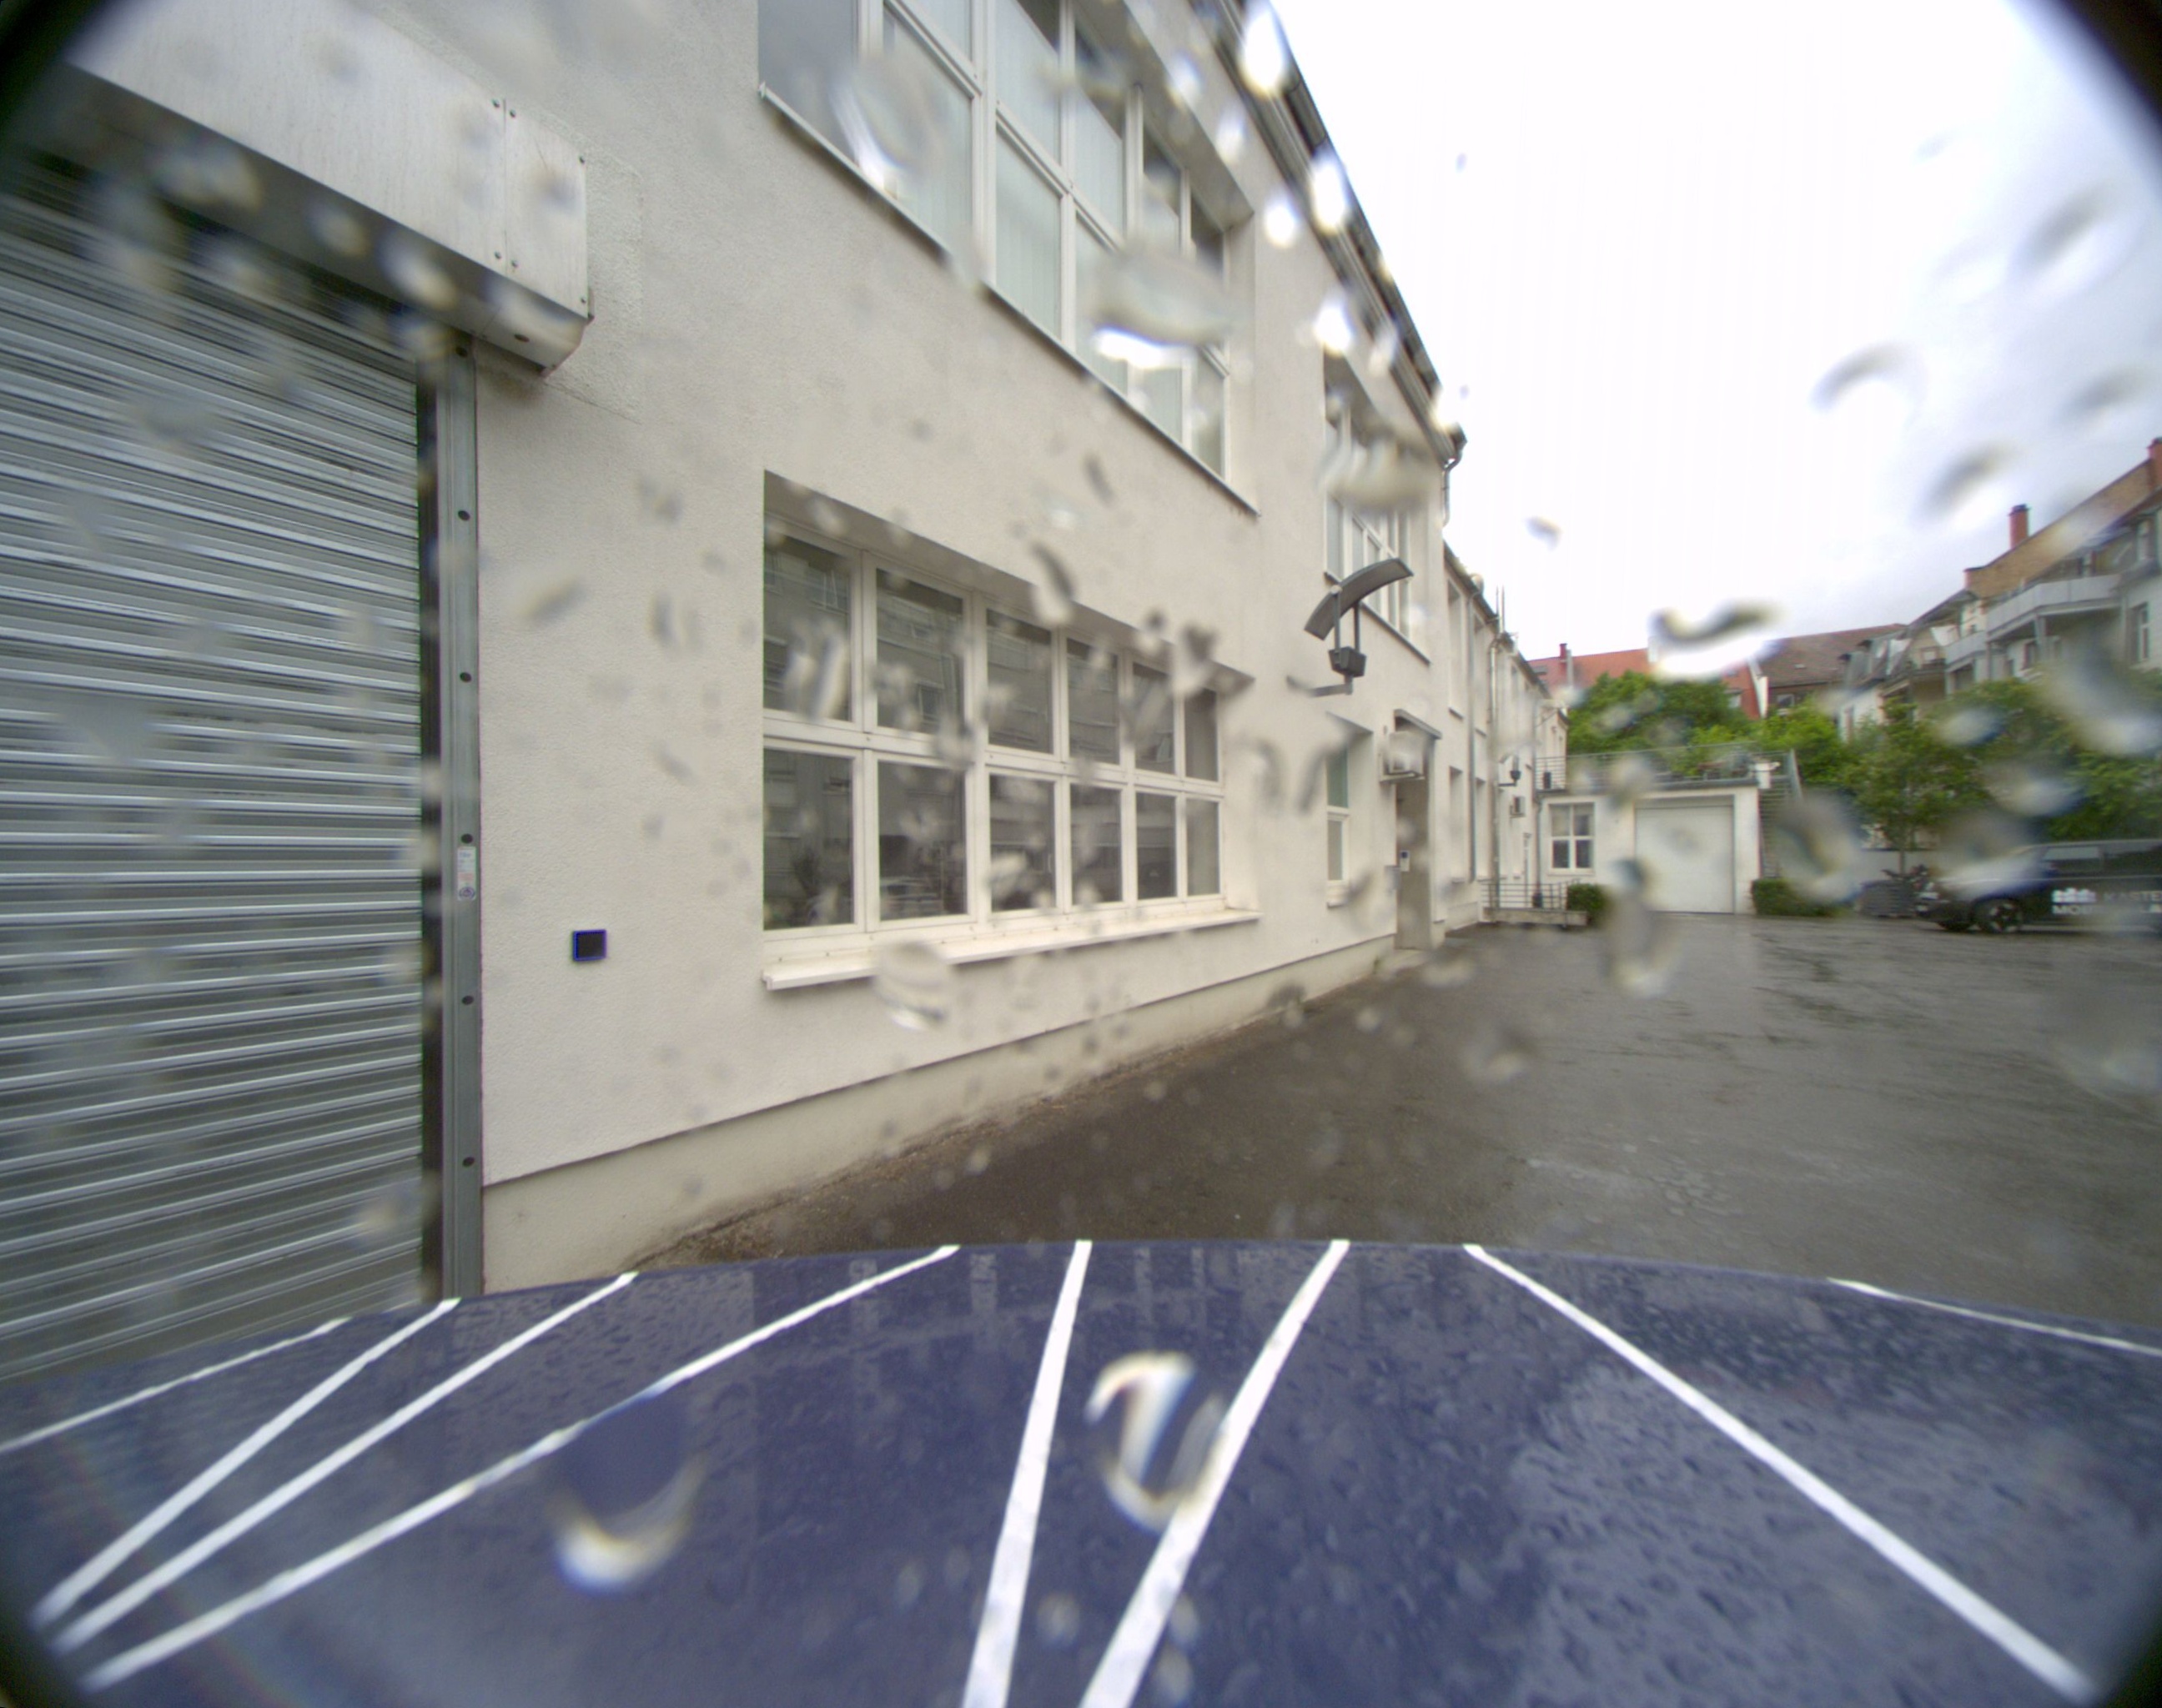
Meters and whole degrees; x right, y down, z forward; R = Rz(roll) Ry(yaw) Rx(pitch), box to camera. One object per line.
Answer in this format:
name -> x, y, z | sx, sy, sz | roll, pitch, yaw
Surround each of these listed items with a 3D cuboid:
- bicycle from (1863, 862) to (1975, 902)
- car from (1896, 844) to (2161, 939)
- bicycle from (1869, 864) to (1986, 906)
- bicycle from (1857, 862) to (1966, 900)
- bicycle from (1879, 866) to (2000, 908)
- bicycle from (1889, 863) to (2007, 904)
bicycle -> 26.608, 0.887, 24.178 | 2.314, 1.179, 0.644 | -1, 2, 38
car -> 20.545, 0.754, 15.719 | 4.619, 1.825, 1.993 | -1, -2, 30
bicycle -> 25.868, 0.933, 23.272 | 2.314, 1.179, 0.644 | -1, 2, 38
bicycle -> 26.954, 0.863, 24.711 | 2.314, 1.179, 0.644 | -1, 2, 38
bicycle -> 25.445, 0.963, 22.588 | 2.314, 1.179, 0.644 | -1, 2, 38
bicycle -> 26.708, 0.898, 23.463 | 2.314, 1.179, 0.644 | -1, 2, 38
